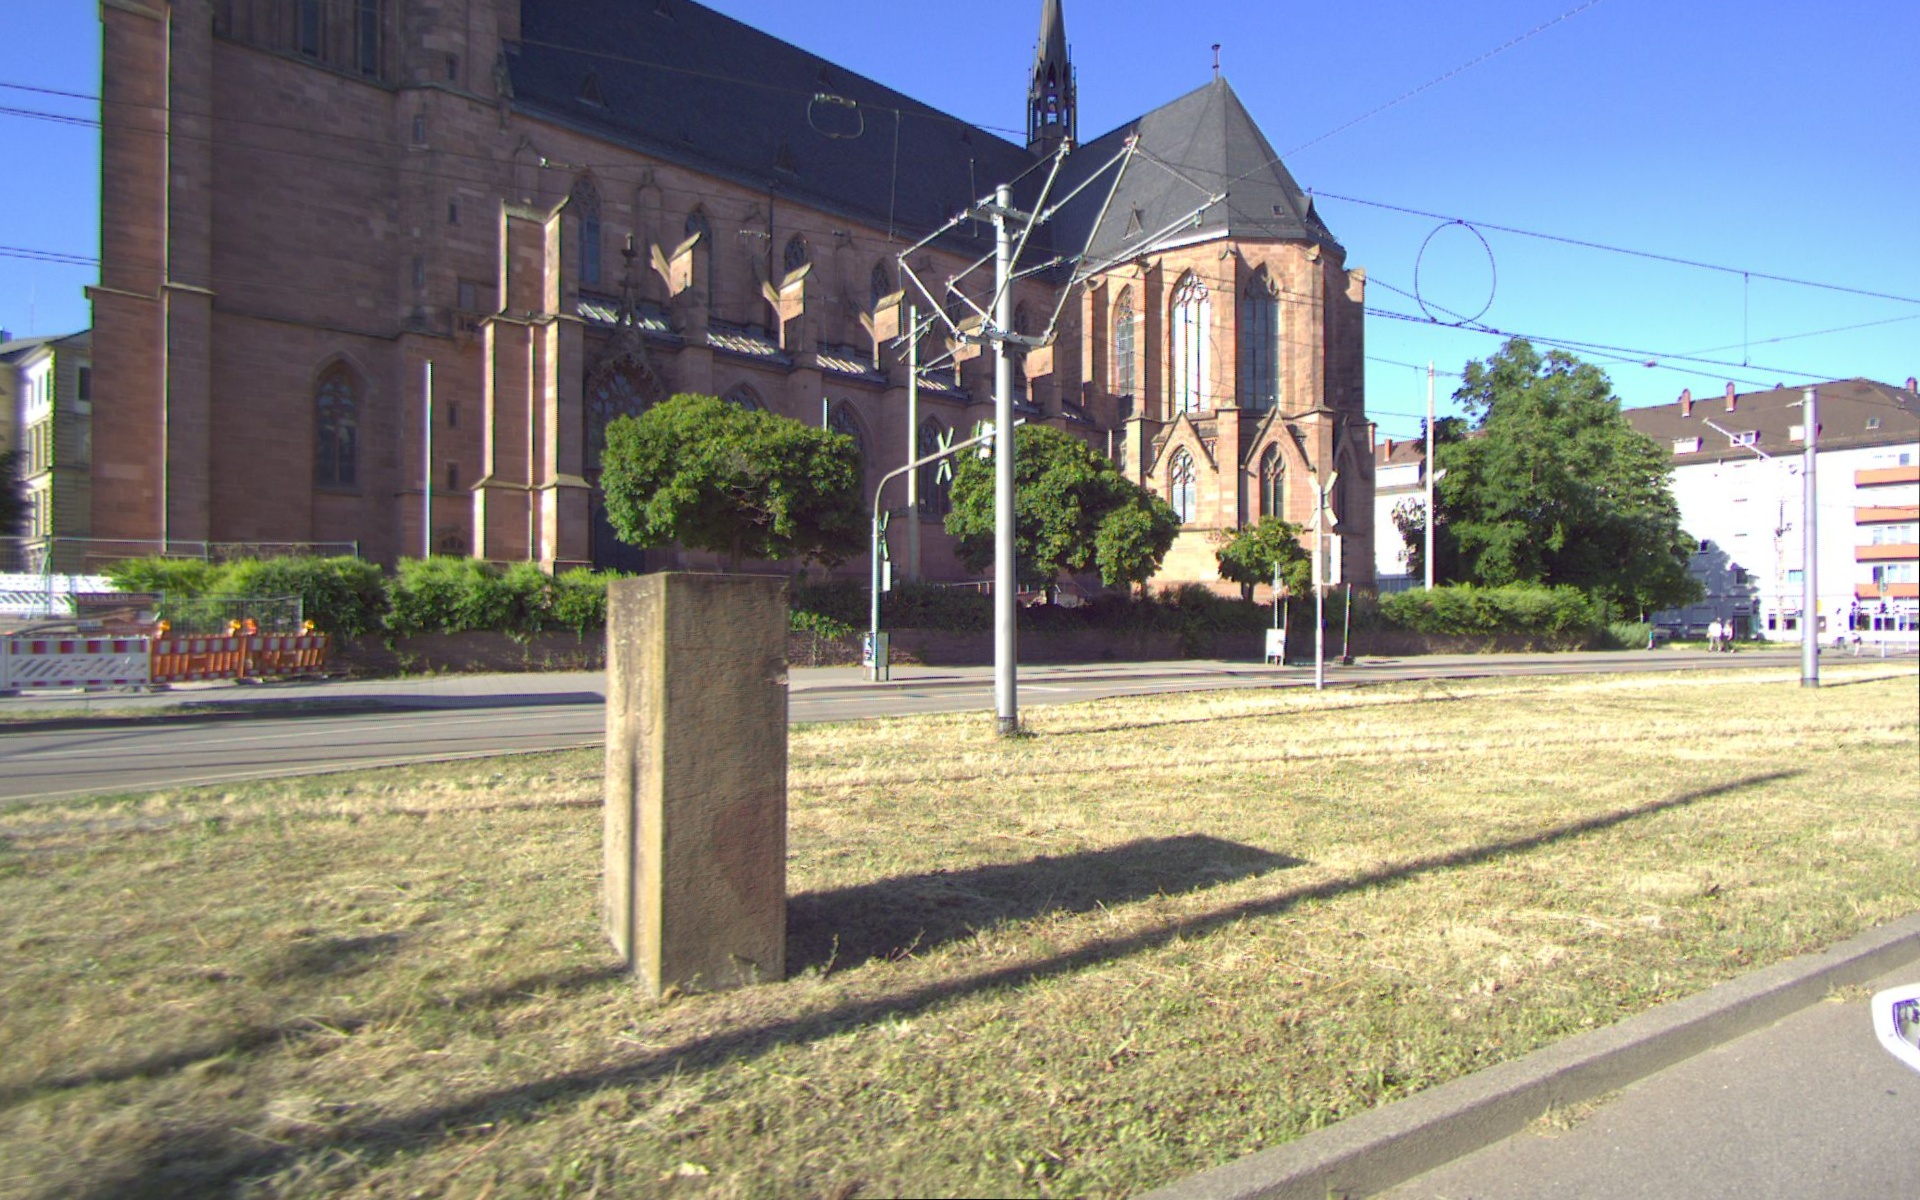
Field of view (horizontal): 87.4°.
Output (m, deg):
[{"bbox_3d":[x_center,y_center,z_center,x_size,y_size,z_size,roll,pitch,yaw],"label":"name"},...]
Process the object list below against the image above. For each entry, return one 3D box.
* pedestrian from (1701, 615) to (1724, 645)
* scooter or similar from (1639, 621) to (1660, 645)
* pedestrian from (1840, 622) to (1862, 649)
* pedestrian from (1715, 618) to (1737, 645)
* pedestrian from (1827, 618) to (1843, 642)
[{"bbox_3d":[42.033,1.701,56.091,0.887,1.619,0.641,-3,-1,-28],"label":"pedestrian"},{"bbox_3d":[38.427,1.832,56.013,1.215,1.278,0.400,-3,-1,-29],"label":"scooter or similar"},{"bbox_3d":[50.794,2.020,57.273,0.583,1.487,0.686,-3,-1,-25],"label":"pedestrian"},{"bbox_3d":[42.347,1.743,55.522,0.905,1.487,0.587,-3,-1,-28],"label":"pedestrian"},{"bbox_3d":[56.583,1.913,64.949,0.581,1.487,0.914,-3,-1,32],"label":"pedestrian"}]
